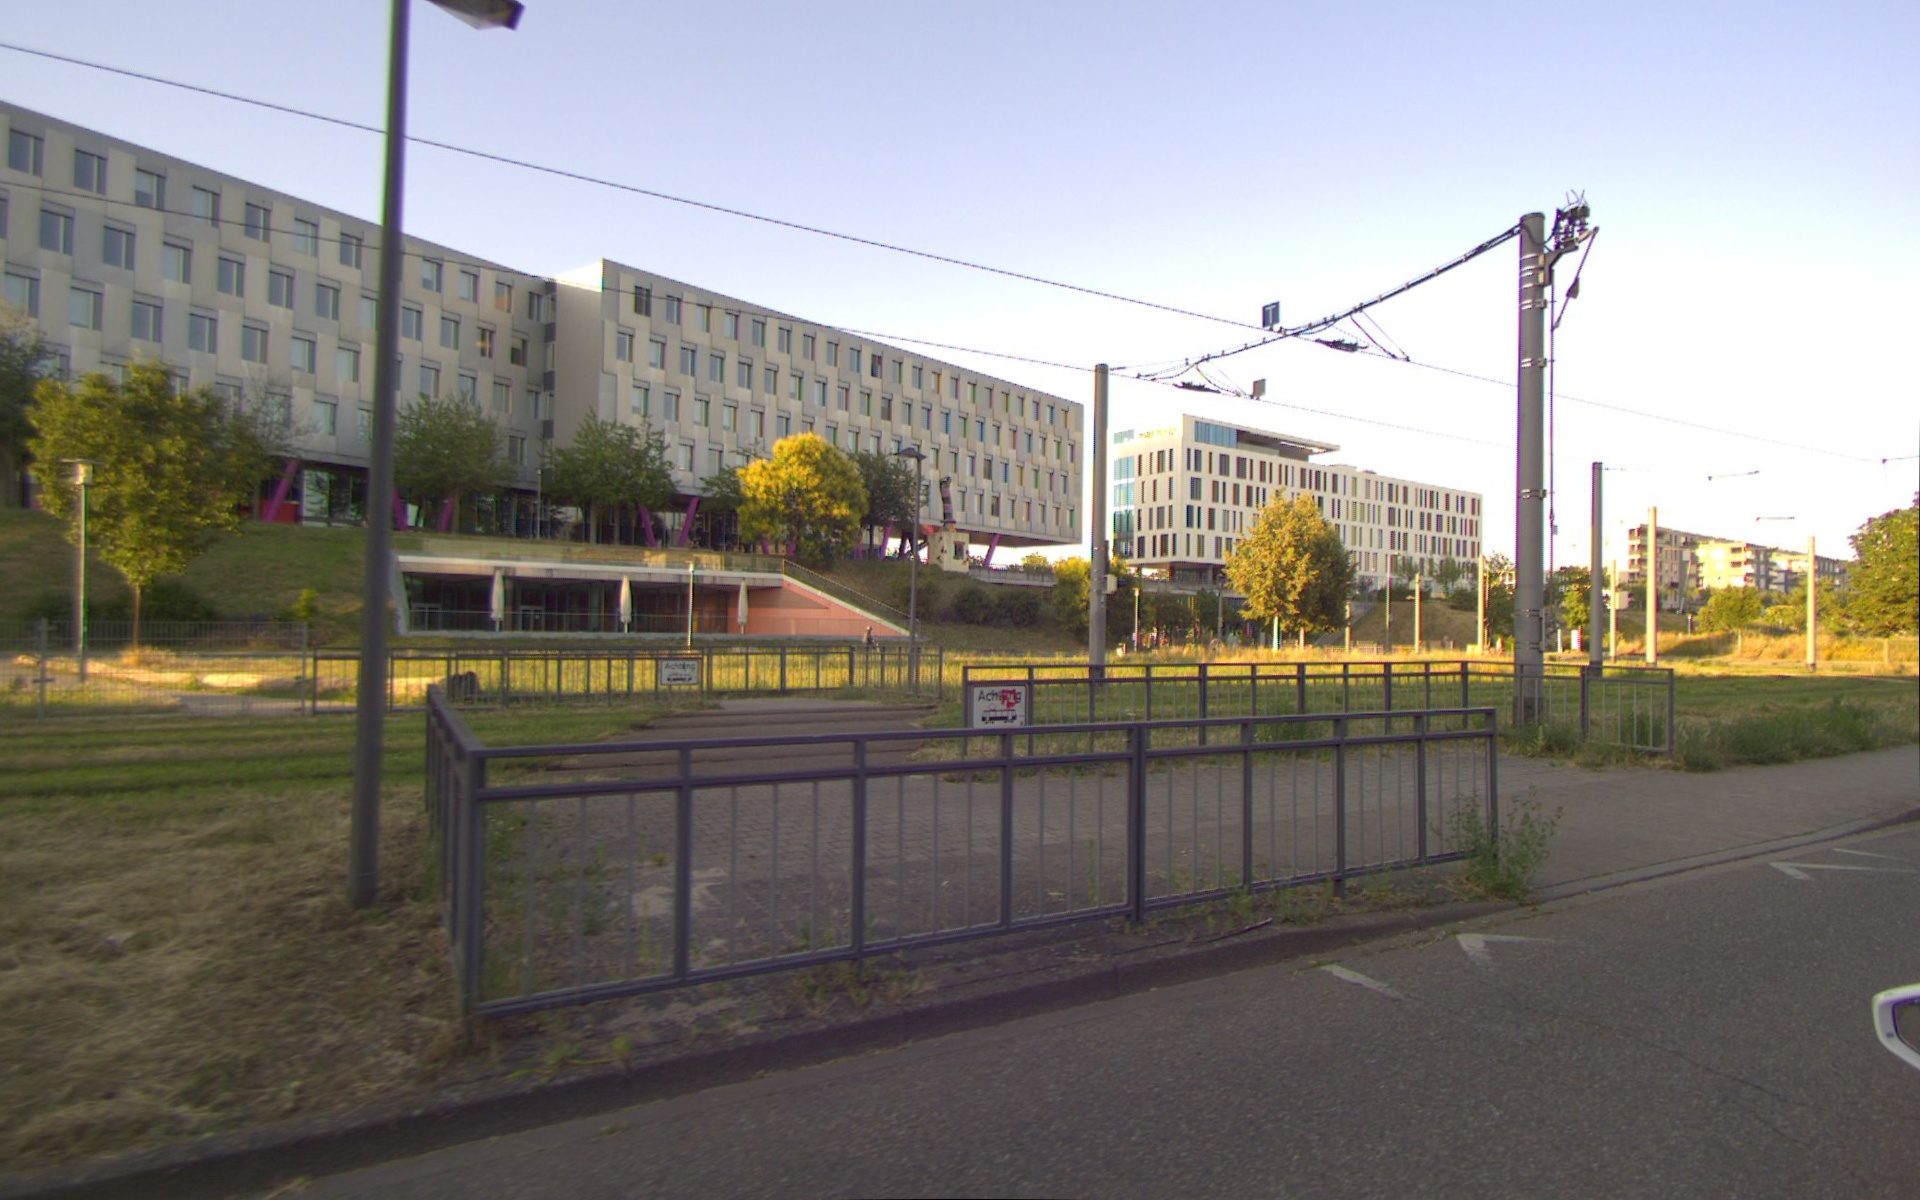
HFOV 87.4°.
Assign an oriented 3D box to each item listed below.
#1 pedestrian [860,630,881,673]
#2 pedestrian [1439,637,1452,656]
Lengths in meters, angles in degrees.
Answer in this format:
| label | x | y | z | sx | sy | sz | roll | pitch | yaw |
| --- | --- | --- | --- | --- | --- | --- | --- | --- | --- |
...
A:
| label | x | y | z | sx | sy | sz | roll | pitch | yaw |
| --- | --- | --- | --- | --- | --- | --- | --- | --- | --- |
| pedestrian | -4.451 | 2.558 | 49.864 | 0.781 | 2.110 | 0.613 | 2 | 0 | -31 |
| pedestrian | 47.187 | 4.540 | 97.595 | 0.803 | 1.810 | 0.784 | 2 | -2 | -26 |
